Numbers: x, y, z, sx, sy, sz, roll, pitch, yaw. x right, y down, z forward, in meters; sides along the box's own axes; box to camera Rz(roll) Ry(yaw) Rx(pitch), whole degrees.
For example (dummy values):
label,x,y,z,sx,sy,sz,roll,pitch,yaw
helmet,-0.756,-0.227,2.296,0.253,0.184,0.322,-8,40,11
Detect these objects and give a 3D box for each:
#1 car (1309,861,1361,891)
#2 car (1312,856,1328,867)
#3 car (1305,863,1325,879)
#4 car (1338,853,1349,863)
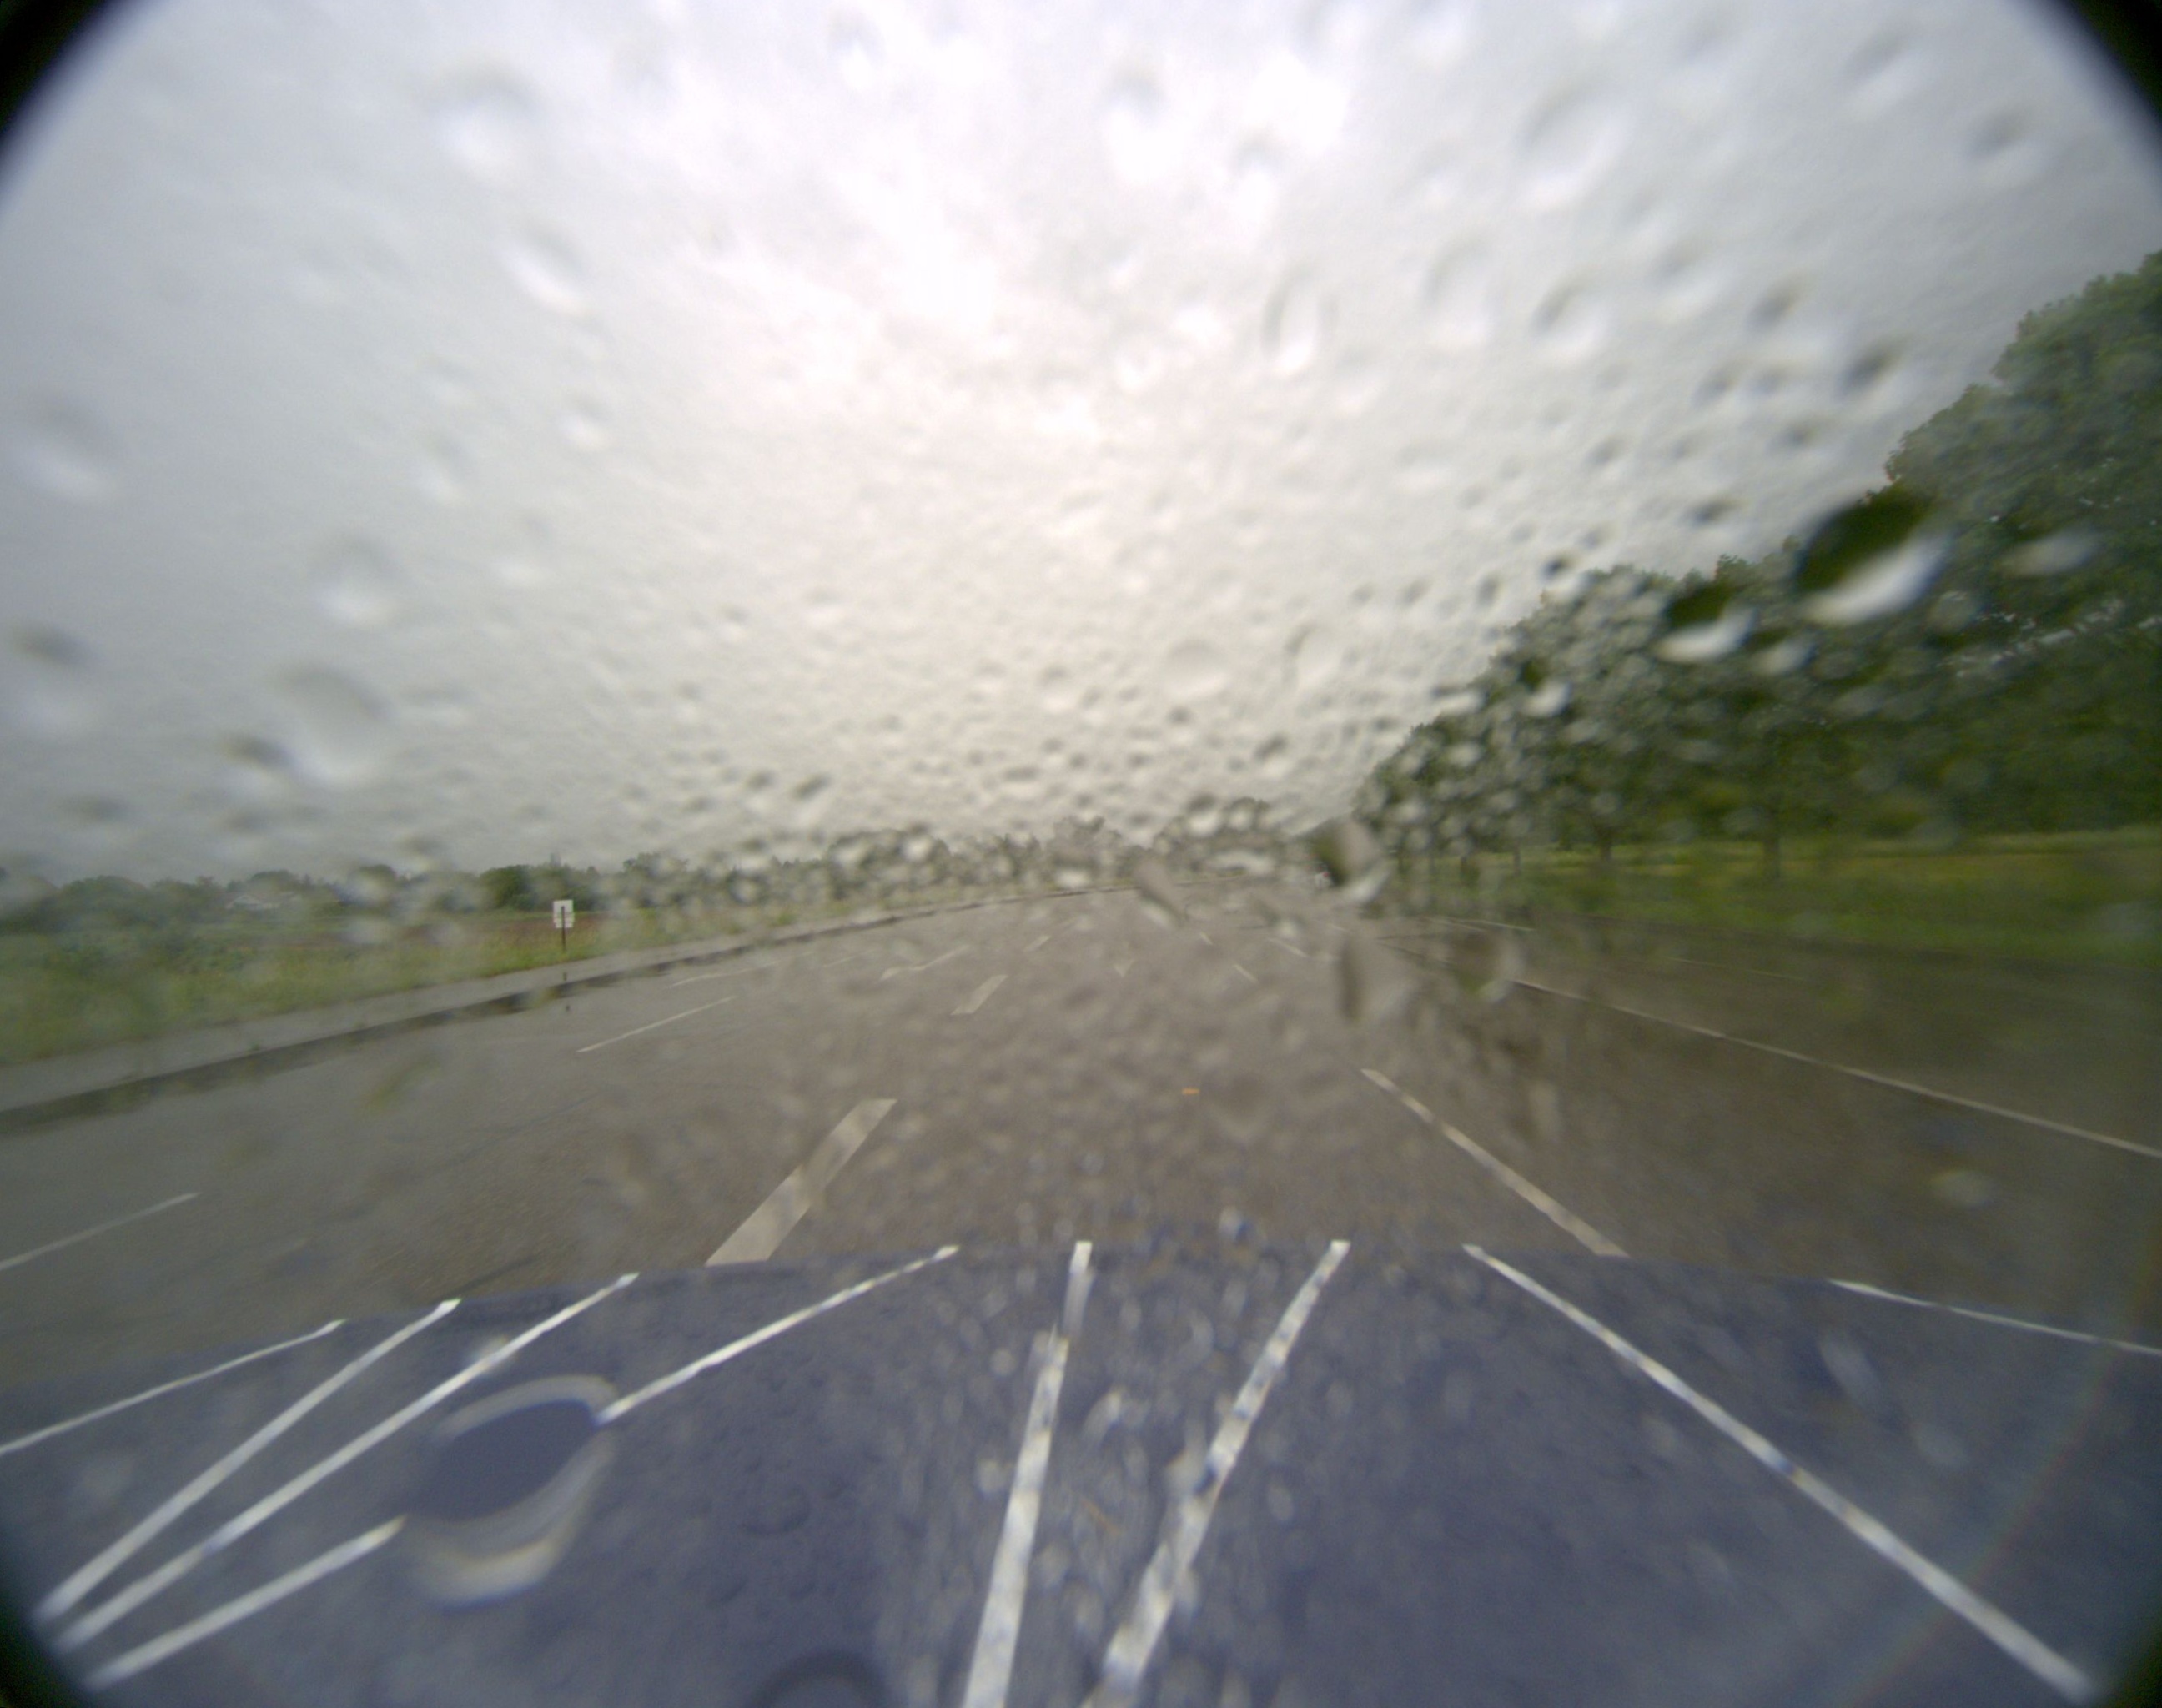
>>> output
label,x,y,z,sx,sy,sz,roll,pitch,yaw
car,14.144,1.193,42.578,1.882,1.564,4.647,-1,0,8
car,31.221,0.956,99.152,1.741,1.478,4.017,-1,0,20
car,25.800,1.881,83.835,1.887,1.578,4.123,-4,-1,16
car,50.434,0.739,145.962,1.926,1.733,4.294,-1,0,17
